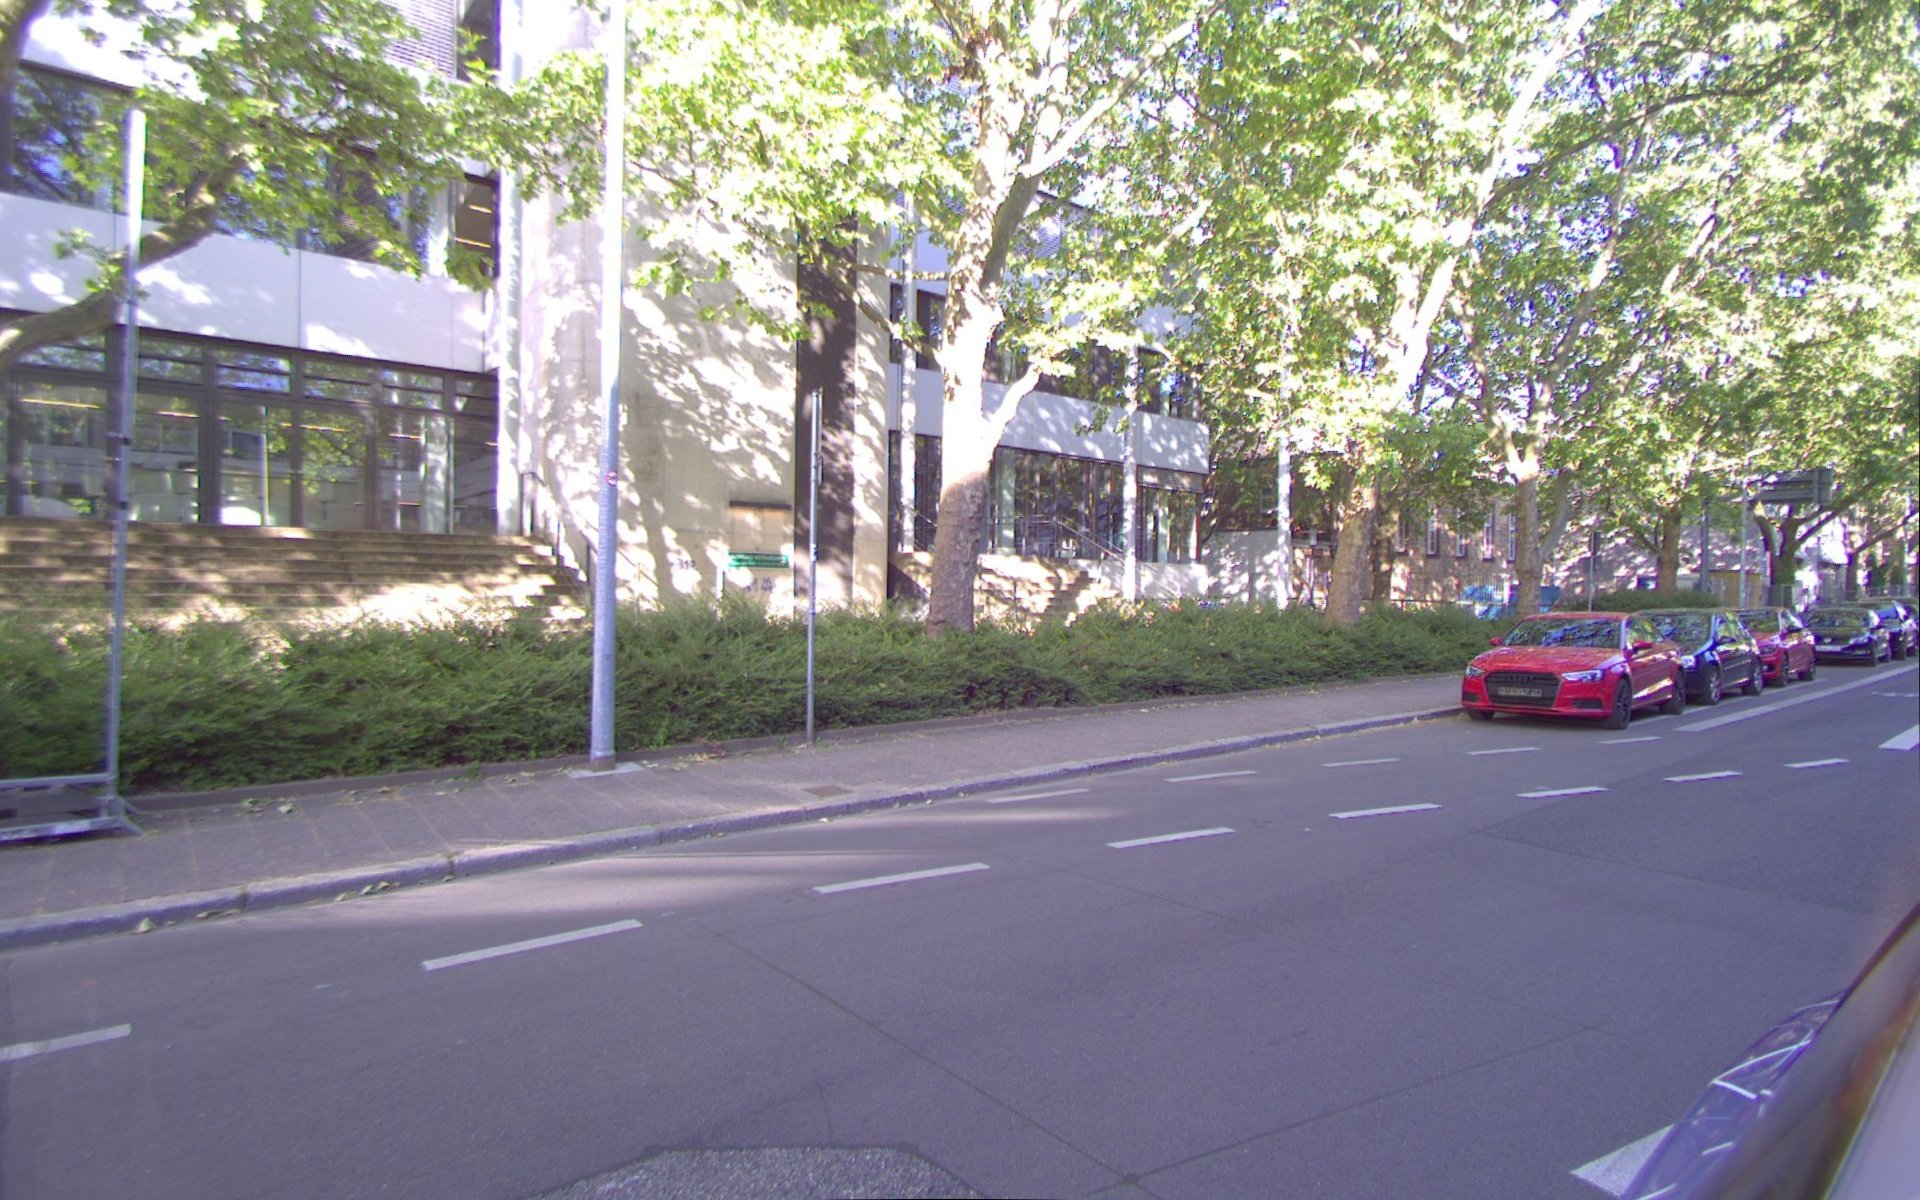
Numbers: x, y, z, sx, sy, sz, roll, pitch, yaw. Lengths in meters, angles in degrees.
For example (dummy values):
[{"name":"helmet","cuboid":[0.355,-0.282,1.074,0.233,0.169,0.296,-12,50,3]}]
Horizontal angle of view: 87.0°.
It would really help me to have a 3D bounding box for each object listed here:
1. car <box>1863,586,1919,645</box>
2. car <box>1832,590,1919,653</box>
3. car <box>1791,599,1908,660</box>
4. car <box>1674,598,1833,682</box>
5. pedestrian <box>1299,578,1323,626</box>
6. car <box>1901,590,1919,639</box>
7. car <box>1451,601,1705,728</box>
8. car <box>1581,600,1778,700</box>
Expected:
[{"name":"car","cuboid":[30.974,0.485,32.980,4.370,1.843,1.753,0,-1,-41]},{"name":"car","cuboid":[26.717,0.584,29.189,4.101,1.674,1.753,0,-1,-41]},{"name":"car","cuboid":[22.950,0.714,26.076,3.841,1.451,1.753,0,-1,-41]},{"name":"car","cuboid":[15.706,0.719,19.977,3.841,1.486,1.753,0,-1,-41]},{"name":"pedestrian","cuboid":[12.641,0.069,36.454,0.649,1.691,0.525,0,0,-39]},{"name":"car","cuboid":[36.197,0.514,37.277,4.370,1.750,1.753,0,-1,-41]},{"name":"car","cuboid":[8.287,0.746,13.445,3.930,1.427,1.753,0,-1,-41]},{"name":"car","cuboid":[11.854,0.737,16.600,3.841,1.451,1.753,0,-1,-41]}]
